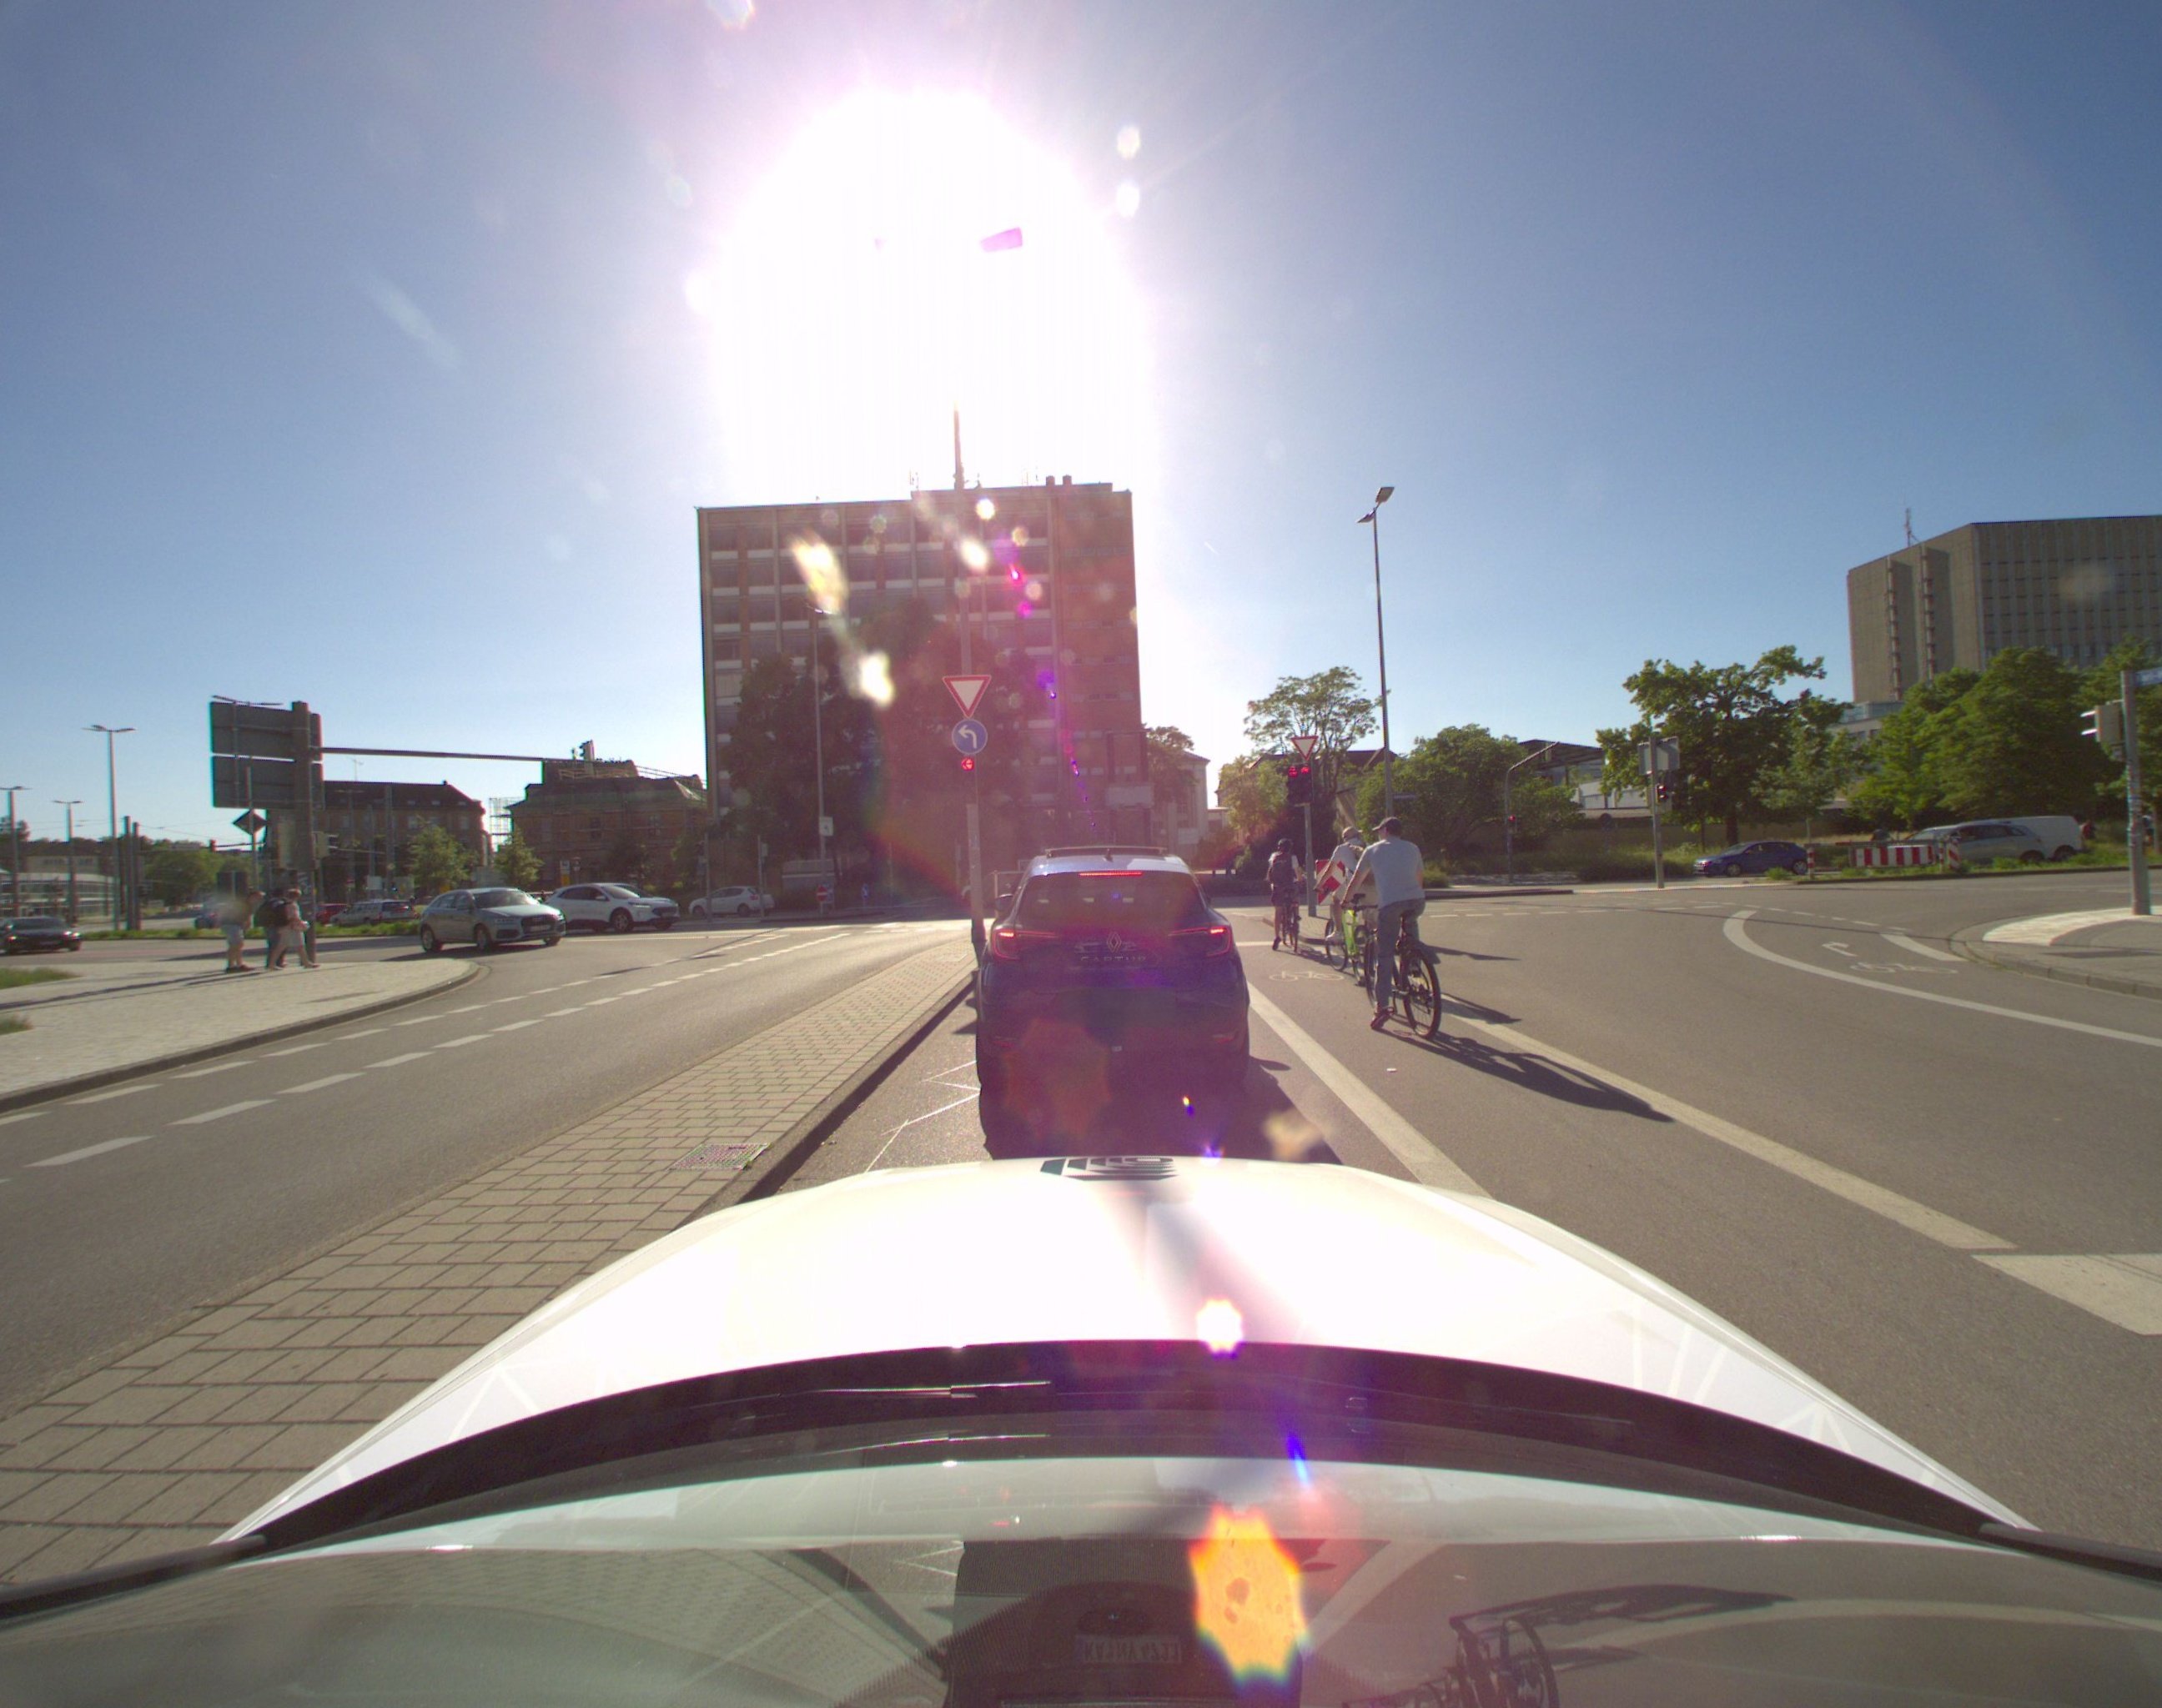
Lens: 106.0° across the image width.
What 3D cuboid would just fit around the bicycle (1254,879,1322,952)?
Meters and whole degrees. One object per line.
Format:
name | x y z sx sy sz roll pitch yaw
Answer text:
bicycle | 3.240 0.929 12.945 0.735 0.995 2.177 0 -1 6

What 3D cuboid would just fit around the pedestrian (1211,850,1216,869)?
pedestrian | 14.806 0.601 90.895 0.473 2.014 0.524 -2 -1 8

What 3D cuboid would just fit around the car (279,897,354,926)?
car | -48.306 3.638 51.459 4.333 1.632 1.854 -3 -1 24

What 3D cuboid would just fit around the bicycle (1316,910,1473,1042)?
bicycle | 2.713 1.016 7.307 0.737 0.896 1.980 0 -1 3

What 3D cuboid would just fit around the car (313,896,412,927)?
car | -38.243 3.067 43.374 4.842 1.388 1.854 -3 -1 21

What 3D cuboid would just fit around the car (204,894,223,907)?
car | -141.668 7.599 132.997 3.949 2.013 2.012 -3 -1 42

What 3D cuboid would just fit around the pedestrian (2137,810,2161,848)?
pedestrian | 51.358 -1.209 39.098 0.559 1.778 0.528 -2 0 5

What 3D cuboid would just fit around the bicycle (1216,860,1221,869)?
bicycle | 15.869 1.223 93.833 0.403 0.973 1.686 0 -1 6

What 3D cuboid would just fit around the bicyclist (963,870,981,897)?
bicyclist | -5.896 1.598 44.065 0.741 1.441 0.593 -2 -1 -25

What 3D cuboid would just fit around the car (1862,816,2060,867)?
car | 28.132 -0.381 26.177 4.025 1.408 1.872 -2 -1 8

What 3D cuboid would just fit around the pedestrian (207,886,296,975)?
pedestrian | -17.786 1.616 17.487 0.697 1.800 1.108 -5 -3 20

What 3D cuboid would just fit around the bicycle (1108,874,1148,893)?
bicycle | 2.551 1.590 44.119 2.067 0.930 0.698 -3 1 12

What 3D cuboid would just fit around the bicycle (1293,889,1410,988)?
bicycle | 3.207 0.957 9.863 0.657 1.003 1.967 0 -1 -4

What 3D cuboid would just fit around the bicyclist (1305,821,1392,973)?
bicyclist | 3.208 0.496 9.861 0.644 1.739 1.065 0 -1 -4

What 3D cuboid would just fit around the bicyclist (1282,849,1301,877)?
bicyclist | 11.199 0.493 43.338 0.930 1.429 0.600 -3 -1 11

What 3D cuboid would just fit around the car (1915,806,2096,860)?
car | 37.849 -0.812 33.466 4.853 2.107 2.004 0 -1 6

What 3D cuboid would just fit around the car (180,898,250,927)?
car | -54.973 3.709 51.661 4.332 1.632 1.855 -3 -1 27

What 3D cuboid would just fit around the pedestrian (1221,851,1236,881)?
pedestrian | 8.175 0.658 45.150 0.732 1.603 0.601 -3 -1 14

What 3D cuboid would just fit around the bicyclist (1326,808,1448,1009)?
bicyclist | 2.705 0.459 7.307 0.748 1.668 1.017 0 -1 3

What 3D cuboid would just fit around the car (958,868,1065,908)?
car | -3.104 1.524 36.609 4.340 1.632 1.852 -2 -1 15

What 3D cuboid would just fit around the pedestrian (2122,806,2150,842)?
pedestrian | 51.461 -1.471 39.717 0.559 1.695 0.528 -3 -1 5

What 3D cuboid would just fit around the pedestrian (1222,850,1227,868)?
pedestrian | 16.207 0.601 92.194 0.473 2.014 0.469 -2 -1 8

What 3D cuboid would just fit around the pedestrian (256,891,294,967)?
pedestrian | -19.229 1.771 19.424 0.600 1.729 0.572 -2 -1 -45

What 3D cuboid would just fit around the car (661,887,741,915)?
car | -21.020 2.601 45.105 3.806 1.435 1.750 -3 -2 17

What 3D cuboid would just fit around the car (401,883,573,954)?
car | -15.667 1.705 21.473 4.204 1.581 1.804 -4 0 25

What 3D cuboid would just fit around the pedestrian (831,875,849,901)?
pedestrian | -15.391 2.189 52.017 0.853 1.571 0.561 -5 -1 16

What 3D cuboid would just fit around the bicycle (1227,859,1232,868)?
bicycle | 17.181 1.072 94.184 0.403 0.973 1.686 0 -1 6

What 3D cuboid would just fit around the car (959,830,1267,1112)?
car | 0.196 0.700 6.814 1.798 1.632 3.999 -1 0 0

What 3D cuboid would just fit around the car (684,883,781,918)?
car | -16.202 2.166 37.892 3.809 1.435 1.749 -2 -1 13

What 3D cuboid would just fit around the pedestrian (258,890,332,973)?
pedestrian | -16.956 1.652 17.575 0.787 1.690 0.791 -5 -3 10

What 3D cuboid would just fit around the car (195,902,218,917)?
car | -130.964 8.318 121.930 3.948 2.013 2.013 -3 -1 38

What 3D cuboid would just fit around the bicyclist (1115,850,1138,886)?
bicyclist | 2.481 0.774 44.160 1.094 1.867 0.655 -3 1 12

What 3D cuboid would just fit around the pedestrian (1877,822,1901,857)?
pedestrian | 40.155 -0.700 40.489 0.559 1.695 0.528 -3 -1 5

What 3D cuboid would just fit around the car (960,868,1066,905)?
car | -3.328 1.600 40.224 4.790 1.632 1.851 -2 -1 13

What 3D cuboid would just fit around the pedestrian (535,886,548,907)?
pedestrian | -41.914 3.306 63.237 0.541 1.615 0.653 -3 -1 41

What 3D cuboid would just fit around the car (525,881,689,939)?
car | -15.532 1.824 26.752 4.652 1.619 1.851 -4 -3 14

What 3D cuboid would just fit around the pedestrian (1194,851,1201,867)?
pedestrian | 13.062 0.569 91.468 0.621 1.856 0.563 -2 -1 2

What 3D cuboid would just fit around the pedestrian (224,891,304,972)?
pedestrian | -18.157 1.706 18.118 0.900 1.690 0.839 -4 -3 -3

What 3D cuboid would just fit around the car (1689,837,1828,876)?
car | 28.210 0.100 34.019 4.143 1.435 1.746 -2 -1 6

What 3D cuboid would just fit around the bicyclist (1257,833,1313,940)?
bicyclist | 3.231 0.502 12.998 0.722 1.629 0.970 0 -1 6

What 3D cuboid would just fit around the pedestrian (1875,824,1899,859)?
pedestrian | 39.124 -0.607 39.538 0.559 1.695 0.528 -3 -1 5

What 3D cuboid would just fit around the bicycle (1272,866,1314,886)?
bicycle | 11.263 1.181 43.331 2.063 0.964 0.600 -3 -1 11

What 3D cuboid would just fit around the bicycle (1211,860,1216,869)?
bicycle | 15.251 1.228 93.892 0.403 0.973 1.686 0 -1 6

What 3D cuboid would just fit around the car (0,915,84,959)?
car | -43.193 3.432 33.499 4.723 1.505 1.831 -5 0 28

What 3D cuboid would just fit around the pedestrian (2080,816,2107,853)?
pedestrian | 49.309 -0.943 39.664 0.559 1.778 0.528 -2 -1 5

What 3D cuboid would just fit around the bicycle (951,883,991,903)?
bicycle | -5.934 2.114 44.038 2.016 0.964 0.593 -2 -1 -25
